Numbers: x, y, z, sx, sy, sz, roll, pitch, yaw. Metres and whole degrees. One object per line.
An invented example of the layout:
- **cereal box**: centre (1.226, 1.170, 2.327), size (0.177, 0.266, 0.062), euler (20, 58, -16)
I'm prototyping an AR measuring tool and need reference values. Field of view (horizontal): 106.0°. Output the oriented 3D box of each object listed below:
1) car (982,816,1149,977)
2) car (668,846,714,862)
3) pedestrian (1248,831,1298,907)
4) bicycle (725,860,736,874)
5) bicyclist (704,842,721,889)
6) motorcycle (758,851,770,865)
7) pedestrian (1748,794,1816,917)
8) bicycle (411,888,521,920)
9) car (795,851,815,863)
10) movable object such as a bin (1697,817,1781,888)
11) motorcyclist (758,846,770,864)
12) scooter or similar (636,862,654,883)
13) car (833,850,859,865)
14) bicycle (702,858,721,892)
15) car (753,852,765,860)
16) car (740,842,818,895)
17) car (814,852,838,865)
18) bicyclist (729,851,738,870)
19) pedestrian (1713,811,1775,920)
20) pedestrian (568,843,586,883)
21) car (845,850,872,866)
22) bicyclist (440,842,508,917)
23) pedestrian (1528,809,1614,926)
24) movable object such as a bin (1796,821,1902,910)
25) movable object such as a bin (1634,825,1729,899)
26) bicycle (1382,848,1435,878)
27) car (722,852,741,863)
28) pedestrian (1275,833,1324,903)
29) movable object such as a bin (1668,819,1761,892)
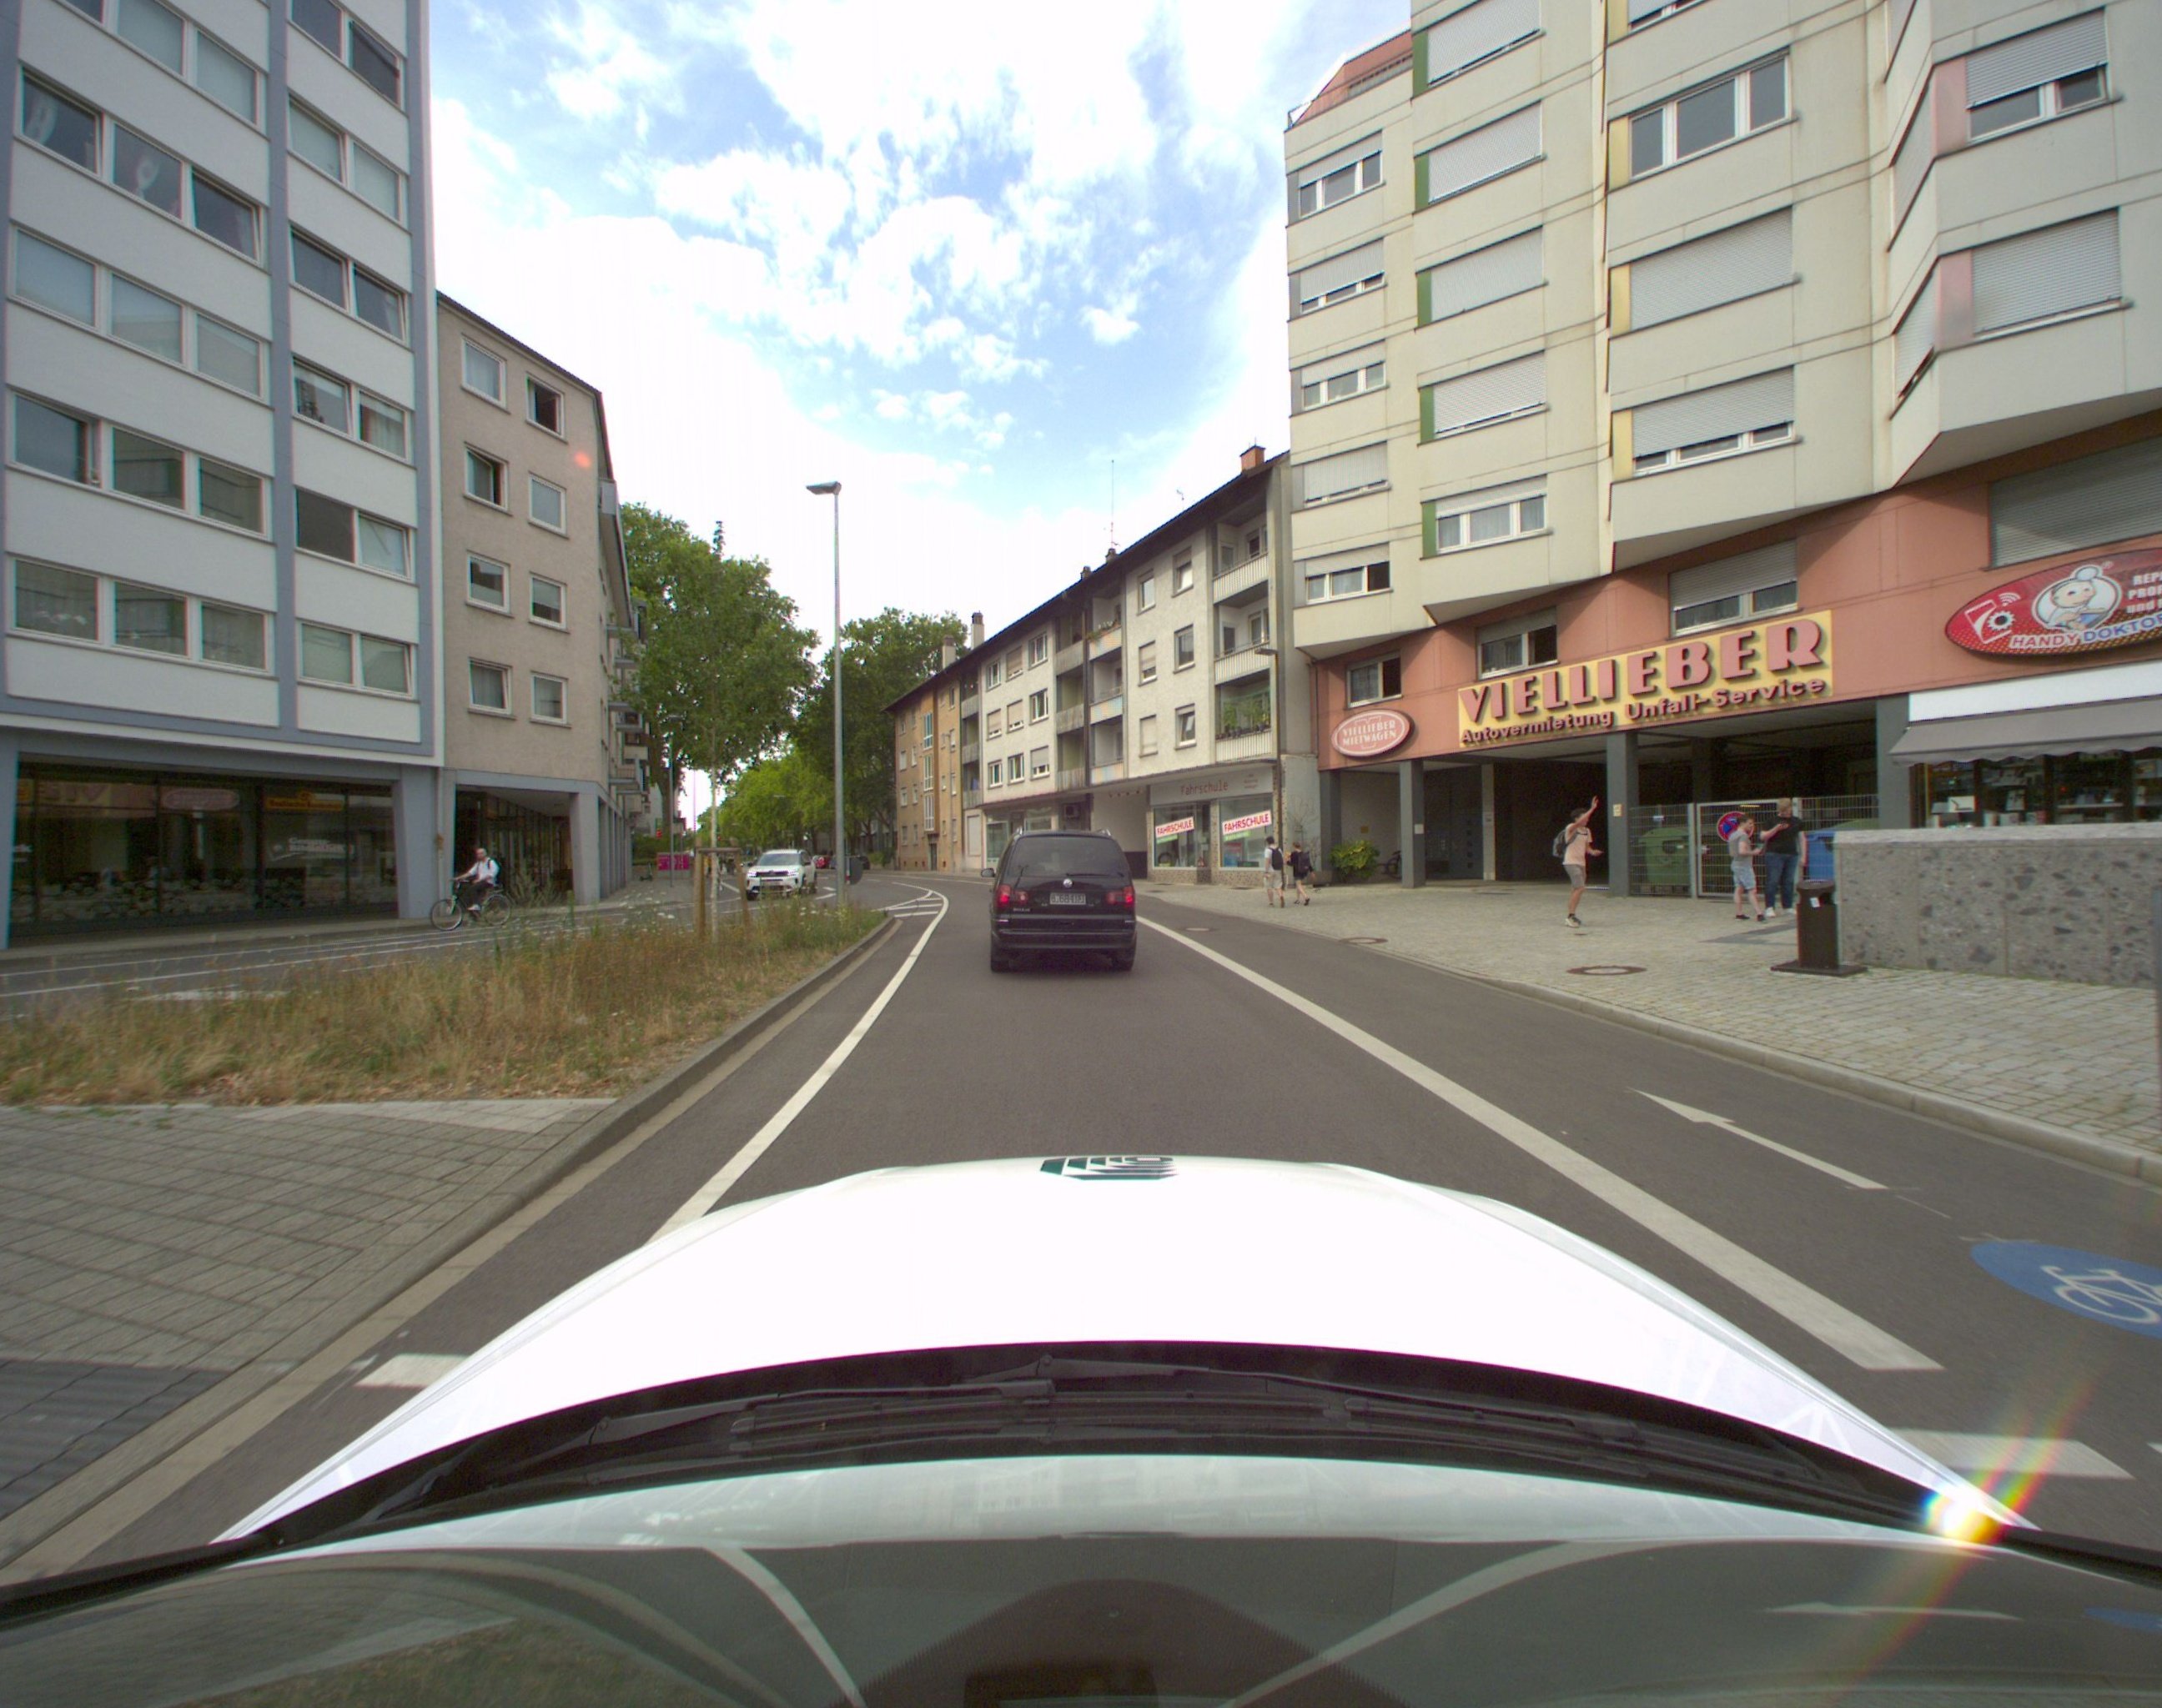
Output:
- **car**: centre (-0.386, 0.459, 10.927), size (1.811, 1.766, 3.728), euler (1, 0, -8)
- **car**: centre (-41.377, -0.010, 86.439), size (4.279, 1.605, 1.951), euler (1, 1, -27)
- **pedestrian**: centre (4.691, 0.353, 19.941), size (0.753, 1.750, 0.854), euler (-4, 2, -19)
- **bicycle**: centre (-28.158, 1.053, 65.460), size (0.740, 1.007, 1.895), euler (1, 1, -23)
- **bicyclist**: centre (-13.761, 0.414, 30.409), size (0.541, 1.743, 0.751), euler (-1, 0, -29)
- **motorcycle**: centre (-25.831, 0.300, 66.337), size (0.725, 1.094, 2.020), euler (-3, 0, -24)
- **pedestrian**: centre (11.314, 0.012, 13.147), size (0.676, 1.903, 0.585), euler (-4, 1, -27)
- **bicycle**: centre (-13.787, 1.111, 18.331), size (0.479, 0.588, 2.008), euler (-1, 0, 20)
- **car**: centre (-34.950, 0.363, 103.021), size (1.639, 1.470, 4.278), euler (0, 0, -28)
- **movable object such as a bin**: centre (14.607, -0.041, 18.092), size (1.008, 1.515, 1.157), euler (-1, 0, -29)
- **motorcyclist**: centre (-25.888, 0.096, 66.443), size (0.800, 1.460, 0.858), euler (-3, 0, -24)
- **scooter or similar**: centre (-26.068, 1.095, 48.664), size (1.162, 1.265, 0.288), euler (-1, 0, 25)
- **car**: centre (-23.174, 0.356, 80.269), size (1.667, 1.422, 3.911), euler (-1, 1, -28)
- **bicycle**: centre (-13.763, 0.763, 30.324), size (0.514, 1.225, 1.549), euler (-1, 0, -28)
- **car**: centre (-59.656, 0.402, 150.770), size (1.685, 1.394, 3.843), euler (0, 0, -28)
- **car**: centre (-10.344, 0.449, 28.206), size (1.833, 1.660, 4.308), euler (-1, 0, -11)
- **car**: centre (-27.850, 0.504, 88.872), size (1.685, 1.394, 4.420), euler (0, 0, -28)
- **bicyclist**: centre (-28.106, 0.510, 65.894), size (0.660, 1.525, 0.994), euler (1, 0, -23)
- **pedestrian**: centre (10.547, 0.170, 12.954), size (0.475, 1.672, 0.585), euler (-4, 1, -27)
- **pedestrian**: centre (-22.419, 0.397, 36.251), size (0.584, 1.757, 0.777), euler (2, -1, -27)
- **car**: centre (-20.842, 0.384, 76.093), size (1.667, 1.422, 3.832), euler (-1, 1, -28)
- **bicyclist**: centre (-13.678, 0.558, 18.375), size (0.603, 1.646, 1.043), euler (-1, 0, 20)
- **pedestrian**: centre (8.216, 0.215, 13.681), size (0.659, 1.852, 0.963), euler (-4, 1, -24)
- **movable object such as a bin**: centre (13.816, 0.195, 14.669), size (1.150, 1.515, 1.078), euler (-1, 0, -29)
- **movable object such as a bin**: centre (12.521, 0.149, 16.999), size (1.152, 1.460, 1.213), euler (-1, 0, -29)
- **bicycle**: centre (10.329, 0.264, 25.730), size (0.455, 0.896, 1.663), euler (-1, 1, -28)
- **car**: centre (-45.100, 0.449, 105.056), size (1.820, 1.408, 4.567), euler (-1, 0, -27)
- **pedestrian**: centre (5.455, 0.332, 20.344), size (0.608, 1.668, 0.935), euler (-4, 1, -29)
- **movable object such as a bin**: centre (13.637, 0.021, 17.549), size (1.201, 1.515, 1.186), euler (-1, 0, -29)
